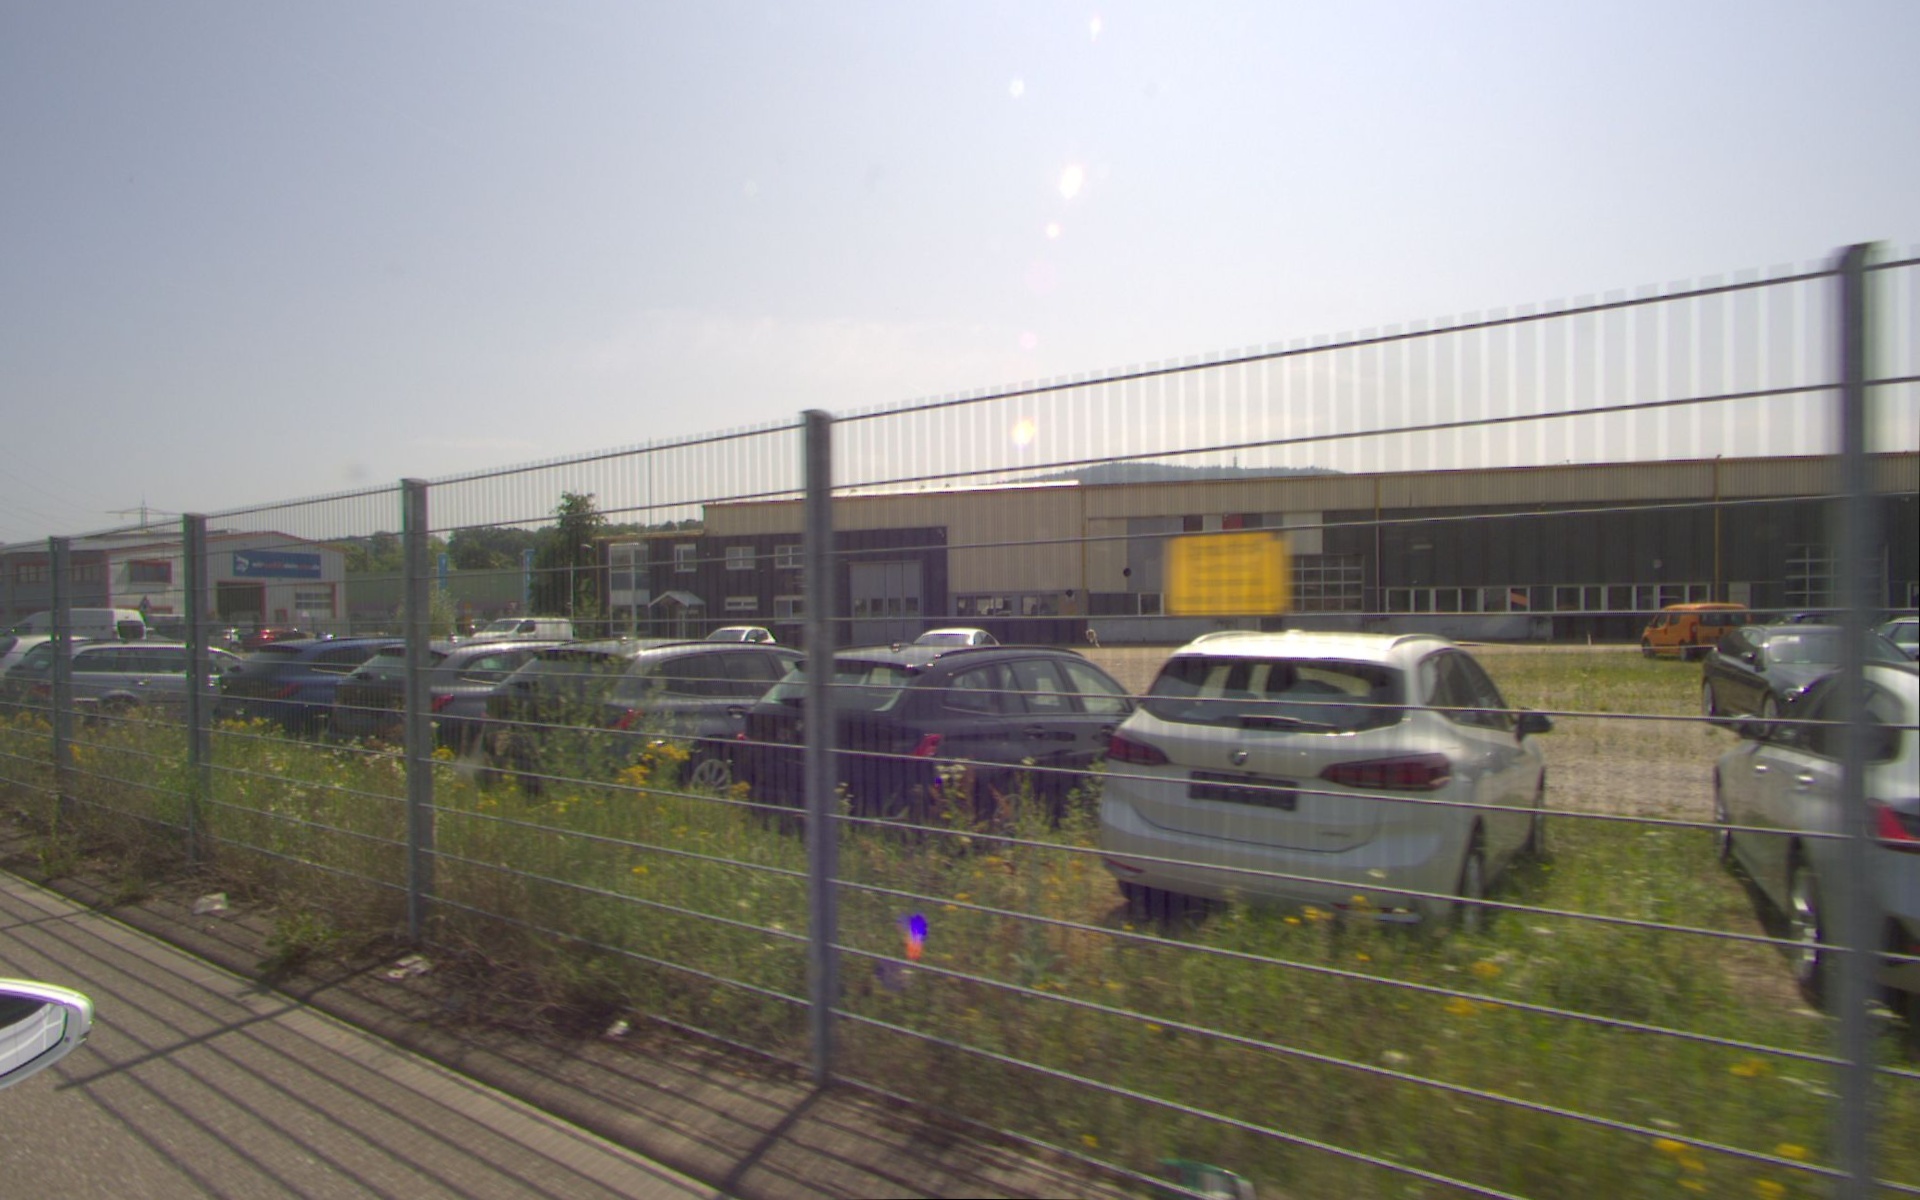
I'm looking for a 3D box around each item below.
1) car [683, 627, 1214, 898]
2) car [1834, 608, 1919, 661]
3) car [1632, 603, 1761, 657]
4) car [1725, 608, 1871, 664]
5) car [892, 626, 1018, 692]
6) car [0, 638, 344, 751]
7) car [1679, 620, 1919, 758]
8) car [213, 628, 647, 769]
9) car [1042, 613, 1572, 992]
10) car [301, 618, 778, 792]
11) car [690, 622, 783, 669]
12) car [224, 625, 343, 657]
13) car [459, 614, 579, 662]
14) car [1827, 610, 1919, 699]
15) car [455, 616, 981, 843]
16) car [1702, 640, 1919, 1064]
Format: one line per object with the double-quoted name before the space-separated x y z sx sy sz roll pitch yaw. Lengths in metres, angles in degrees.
"car" 0.220 0.990 7.523 1.815 1.423 4.198 -1 -4 37
"car" 28.338 0.990 29.844 1.964 1.483 3.994 -1 0 17
"car" 22.527 0.850 30.848 1.721 1.505 4.384 0 0 15
"car" 25.310 1.024 30.445 1.721 1.505 4.384 0 0 15
"car" -0.006 1.327 23.767 1.598 1.368 4.516 -1 -1 19
"car" -12.104 1.374 15.438 1.613 1.492 4.161 -1 -4 30
"car" 11.041 1.039 13.069 1.583 1.456 3.766 0 0 18
"car" -6.337 1.141 12.528 1.744 1.423 4.499 -1 -4 35
"car" 2.381 0.895 6.023 1.815 1.423 4.198 -1 -4 37
"car" -4.084 0.996 10.553 1.615 1.423 4.503 -1 -4 33
"car" -7.440 1.499 33.691 1.508 1.454 3.663 -1 -1 15
"car" -29.598 1.790 43.895 3.854 1.294 1.906 0 -1 -7
"car" -19.076 1.603 43.618 1.825 1.924 5.067 -1 -1 19
"car" 17.463 0.951 17.899 1.560 1.481 3.822 0 0 18
"car" -1.715 0.956 8.713 1.812 1.423 4.506 -1 -4 31
"car" 4.943 0.950 4.795 1.812 1.423 4.206 -1 -4 31
